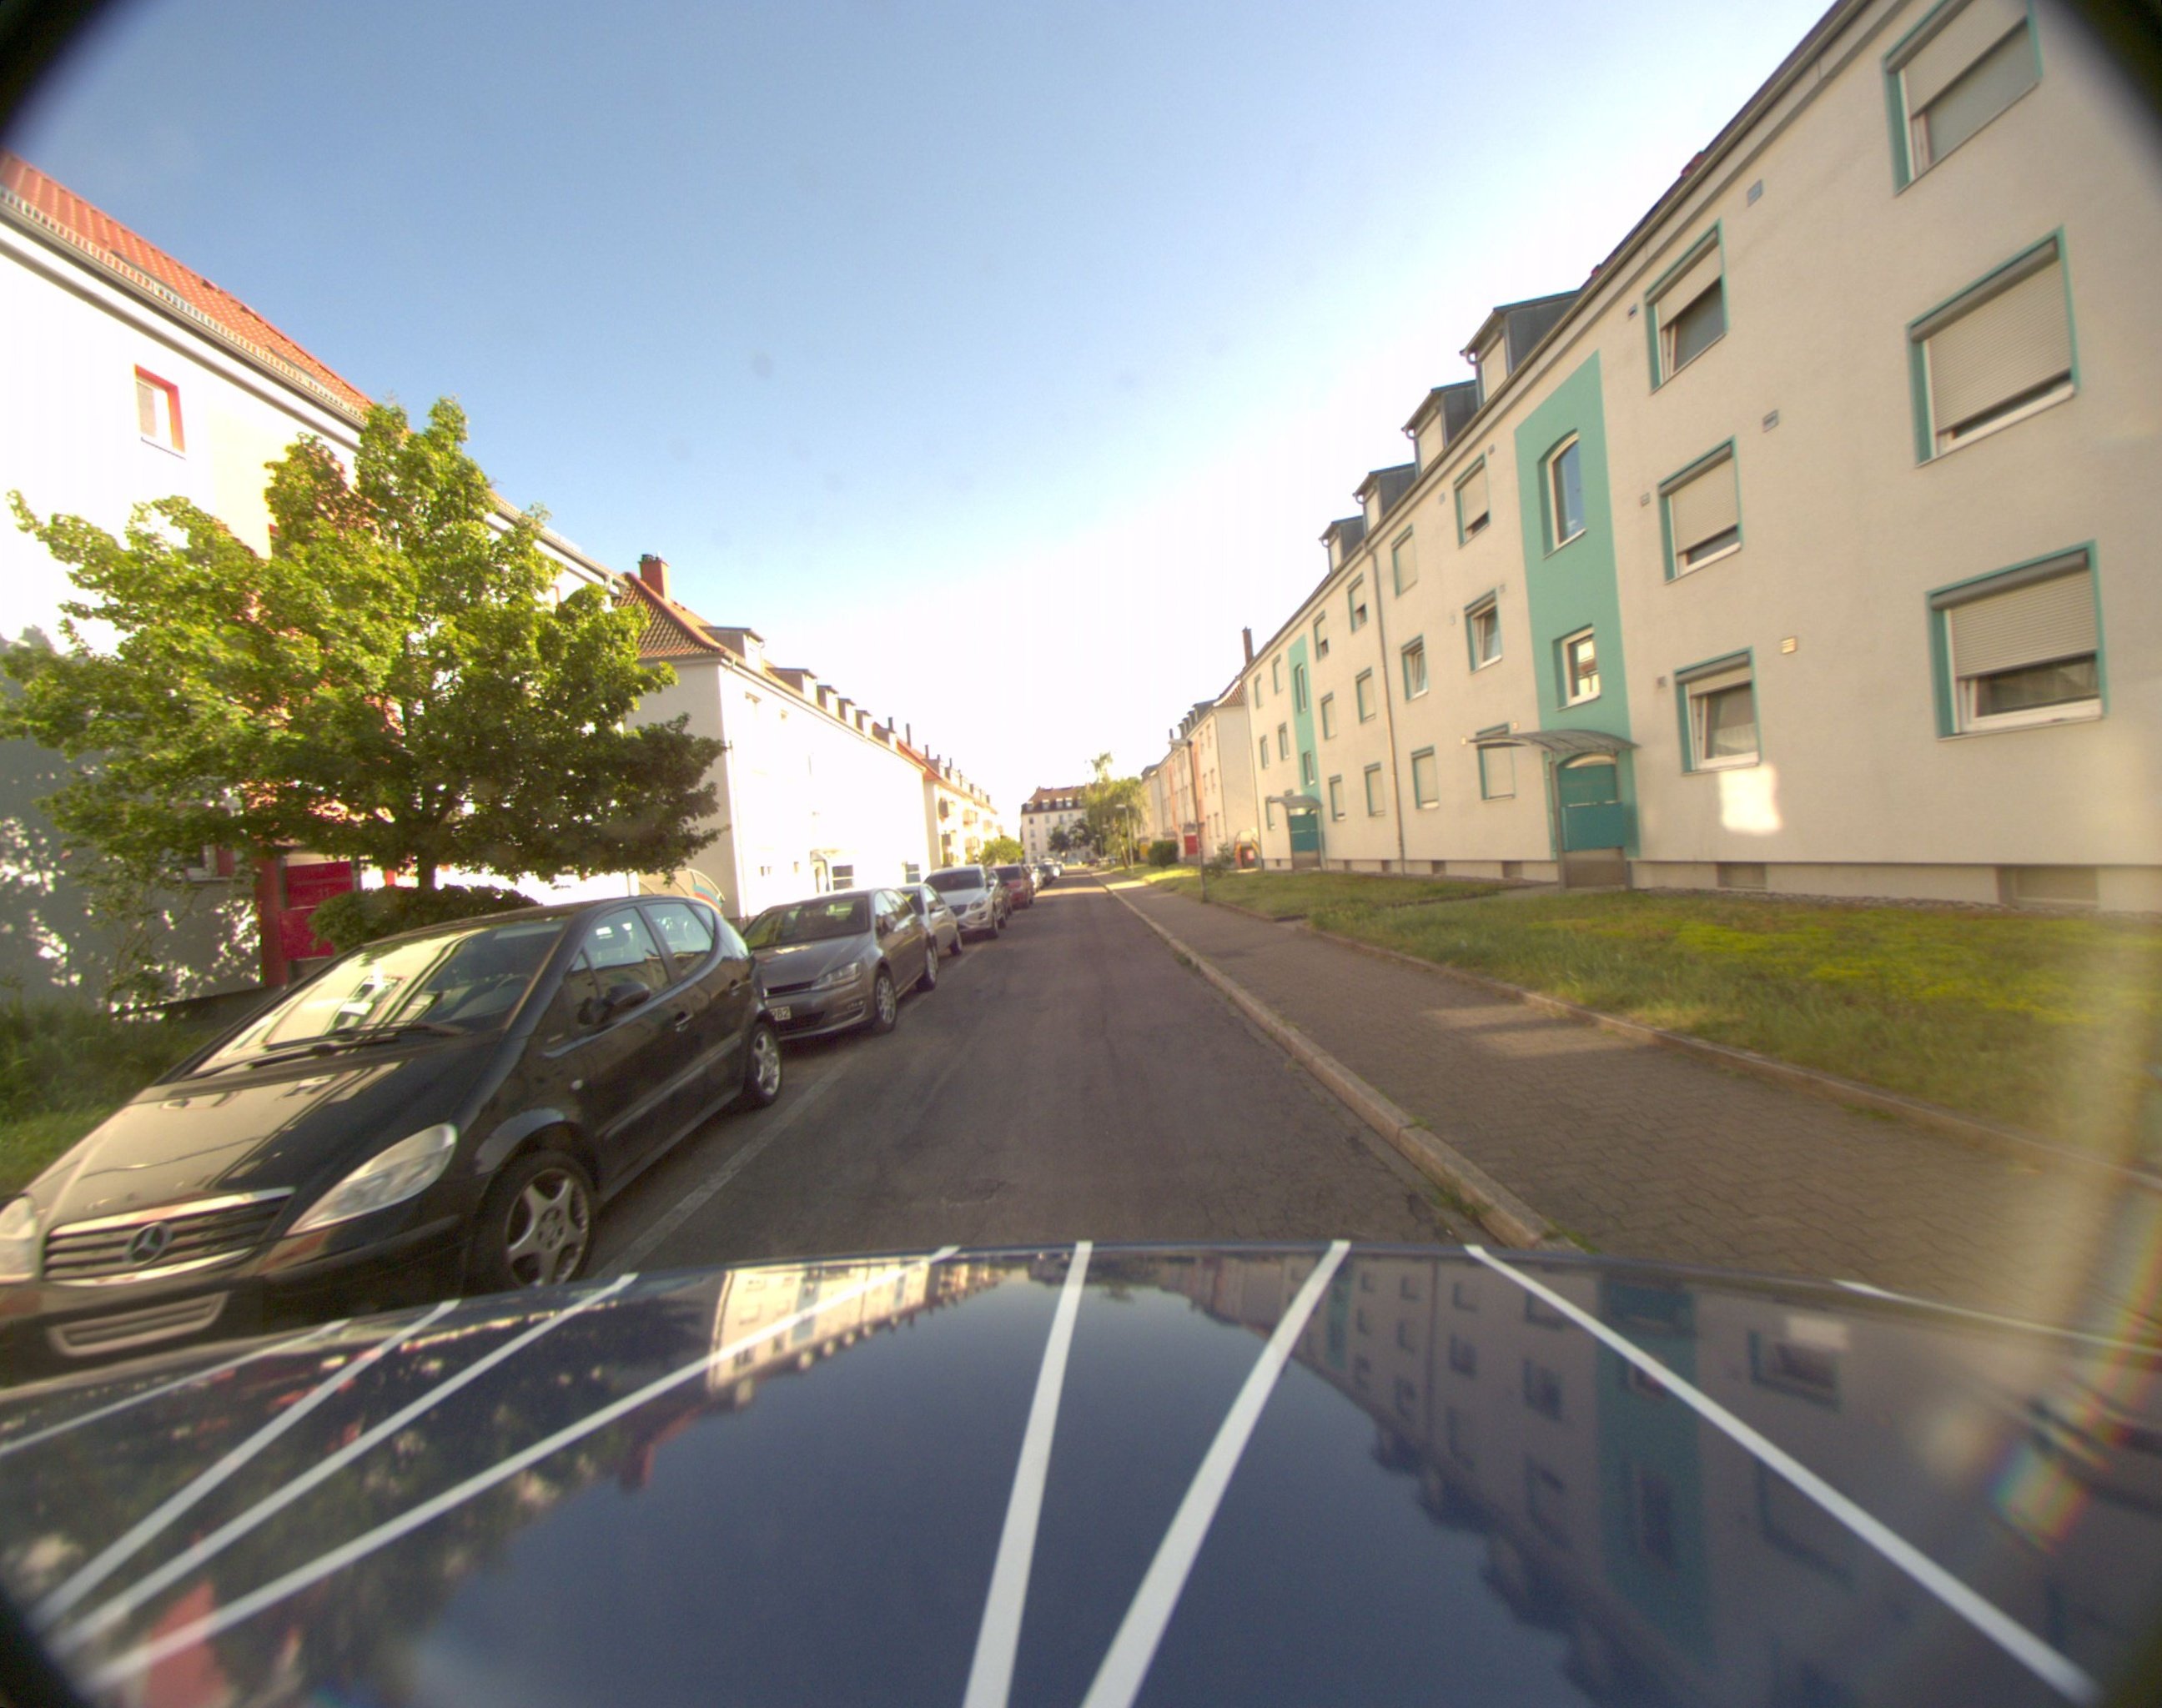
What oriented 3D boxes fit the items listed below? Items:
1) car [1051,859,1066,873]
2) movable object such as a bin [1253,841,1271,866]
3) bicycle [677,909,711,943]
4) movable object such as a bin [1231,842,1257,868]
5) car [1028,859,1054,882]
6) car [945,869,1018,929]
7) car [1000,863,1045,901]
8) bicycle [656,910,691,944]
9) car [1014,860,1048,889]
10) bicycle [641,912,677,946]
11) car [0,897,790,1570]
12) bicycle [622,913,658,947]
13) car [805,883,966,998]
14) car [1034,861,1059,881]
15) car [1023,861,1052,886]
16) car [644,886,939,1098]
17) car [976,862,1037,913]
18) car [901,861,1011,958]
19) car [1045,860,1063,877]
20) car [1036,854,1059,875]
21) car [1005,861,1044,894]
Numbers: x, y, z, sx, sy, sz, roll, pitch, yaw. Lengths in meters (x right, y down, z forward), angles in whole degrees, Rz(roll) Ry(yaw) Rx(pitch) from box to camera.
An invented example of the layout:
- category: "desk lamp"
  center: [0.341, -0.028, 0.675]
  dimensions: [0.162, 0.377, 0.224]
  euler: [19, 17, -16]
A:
- category: "car"
  center: [-3.033, 1.602, 101.851]
  dimensions: [1.709, 1.562, 3.925]
  euler: [-5, 1, 0]
- category: "movable object such as a bin"
  center: [10.430, -0.016, 43.824]
  dimensions: [0.753, 1.385, 0.763]
  euler: [-5, 0, 0]
- category: "bicycle"
  center: [-12.281, 2.272, 24.133]
  dimensions: [0.319, 0.940, 1.283]
  euler: [-3, 0, 2]
- category: "movable object such as a bin"
  center: [9.379, 0.067, 43.797]
  dimensions: [1.167, 1.385, 0.877]
  euler: [-5, 0, 0]
- category: "car"
  center: [-3.024, 1.276, 58.561]
  dimensions: [1.709, 1.562, 4.041]
  euler: [-5, 0, 0]
- category: "car"
  center: [-2.970, 1.298, 23.415]
  dimensions: [1.621, 1.440, 3.857]
  euler: [-7, 0, -1]
- category: "car"
  center: [-2.732, 1.280, 36.272]
  dimensions: [1.709, 1.516, 3.876]
  euler: [-6, 0, 0]
- category: "bicycle"
  center: [-12.973, 2.325, 24.204]
  dimensions: [0.319, 0.940, 1.283]
  euler: [-3, 0, 2]
- category: "car"
  center: [-3.077, 1.235, 47.291]
  dimensions: [1.709, 1.562, 4.041]
  euler: [-5, 0, 0]
- category: "bicycle"
  center: [-13.469, 2.380, 24.287]
  dimensions: [0.319, 0.940, 1.283]
  euler: [-3, 0, 2]
- category: "car"
  center: [-2.984, 1.189, 3.899]
  dimensions: [1.622, 1.541, 3.610]
  euler: [-8, 0, -4]
- category: "bicycle"
  center: [-14.014, 2.413, 24.170]
  dimensions: [0.319, 0.940, 1.283]
  euler: [-3, 0, 2]
- category: "car"
  center: [-3.050, 1.290, 12.549]
  dimensions: [1.632, 1.386, 3.489]
  euler: [-5, 0, 0]
- category: "car"
  center: [-3.128, 1.504, 69.285]
  dimensions: [1.708, 1.562, 4.381]
  euler: [-5, 1, 3]
- category: "car"
  center: [-2.992, 1.319, 53.154]
  dimensions: [1.709, 1.562, 4.041]
  euler: [-5, 0, 0]
- category: "car"
  center: [-2.771, 1.231, 8.302]
  dimensions: [1.633, 1.441, 3.952]
  euler: [-8, -1, -2]
- category: "car"
  center: [-2.703, 1.165, 28.373]
  dimensions: [1.732, 1.597, 4.423]
  euler: [-5, 0, 0]
- category: "car"
  center: [-2.698, 1.130, 17.390]
  dimensions: [1.780, 1.709, 4.306]
  euler: [-8, 0, -2]
- category: "car"
  center: [-2.970, 1.560, 84.329]
  dimensions: [1.709, 1.562, 4.734]
  euler: [-5, 1, 0]
- category: "car"
  center: [-3.360, 1.004, 77.454]
  dimensions: [1.953, 1.889, 4.763]
  euler: [-5, 1, 0]
- category: "car"
  center: [-3.041, 1.268, 41.655]
  dimensions: [1.709, 1.562, 3.876]
  euler: [-5, 0, 0]
